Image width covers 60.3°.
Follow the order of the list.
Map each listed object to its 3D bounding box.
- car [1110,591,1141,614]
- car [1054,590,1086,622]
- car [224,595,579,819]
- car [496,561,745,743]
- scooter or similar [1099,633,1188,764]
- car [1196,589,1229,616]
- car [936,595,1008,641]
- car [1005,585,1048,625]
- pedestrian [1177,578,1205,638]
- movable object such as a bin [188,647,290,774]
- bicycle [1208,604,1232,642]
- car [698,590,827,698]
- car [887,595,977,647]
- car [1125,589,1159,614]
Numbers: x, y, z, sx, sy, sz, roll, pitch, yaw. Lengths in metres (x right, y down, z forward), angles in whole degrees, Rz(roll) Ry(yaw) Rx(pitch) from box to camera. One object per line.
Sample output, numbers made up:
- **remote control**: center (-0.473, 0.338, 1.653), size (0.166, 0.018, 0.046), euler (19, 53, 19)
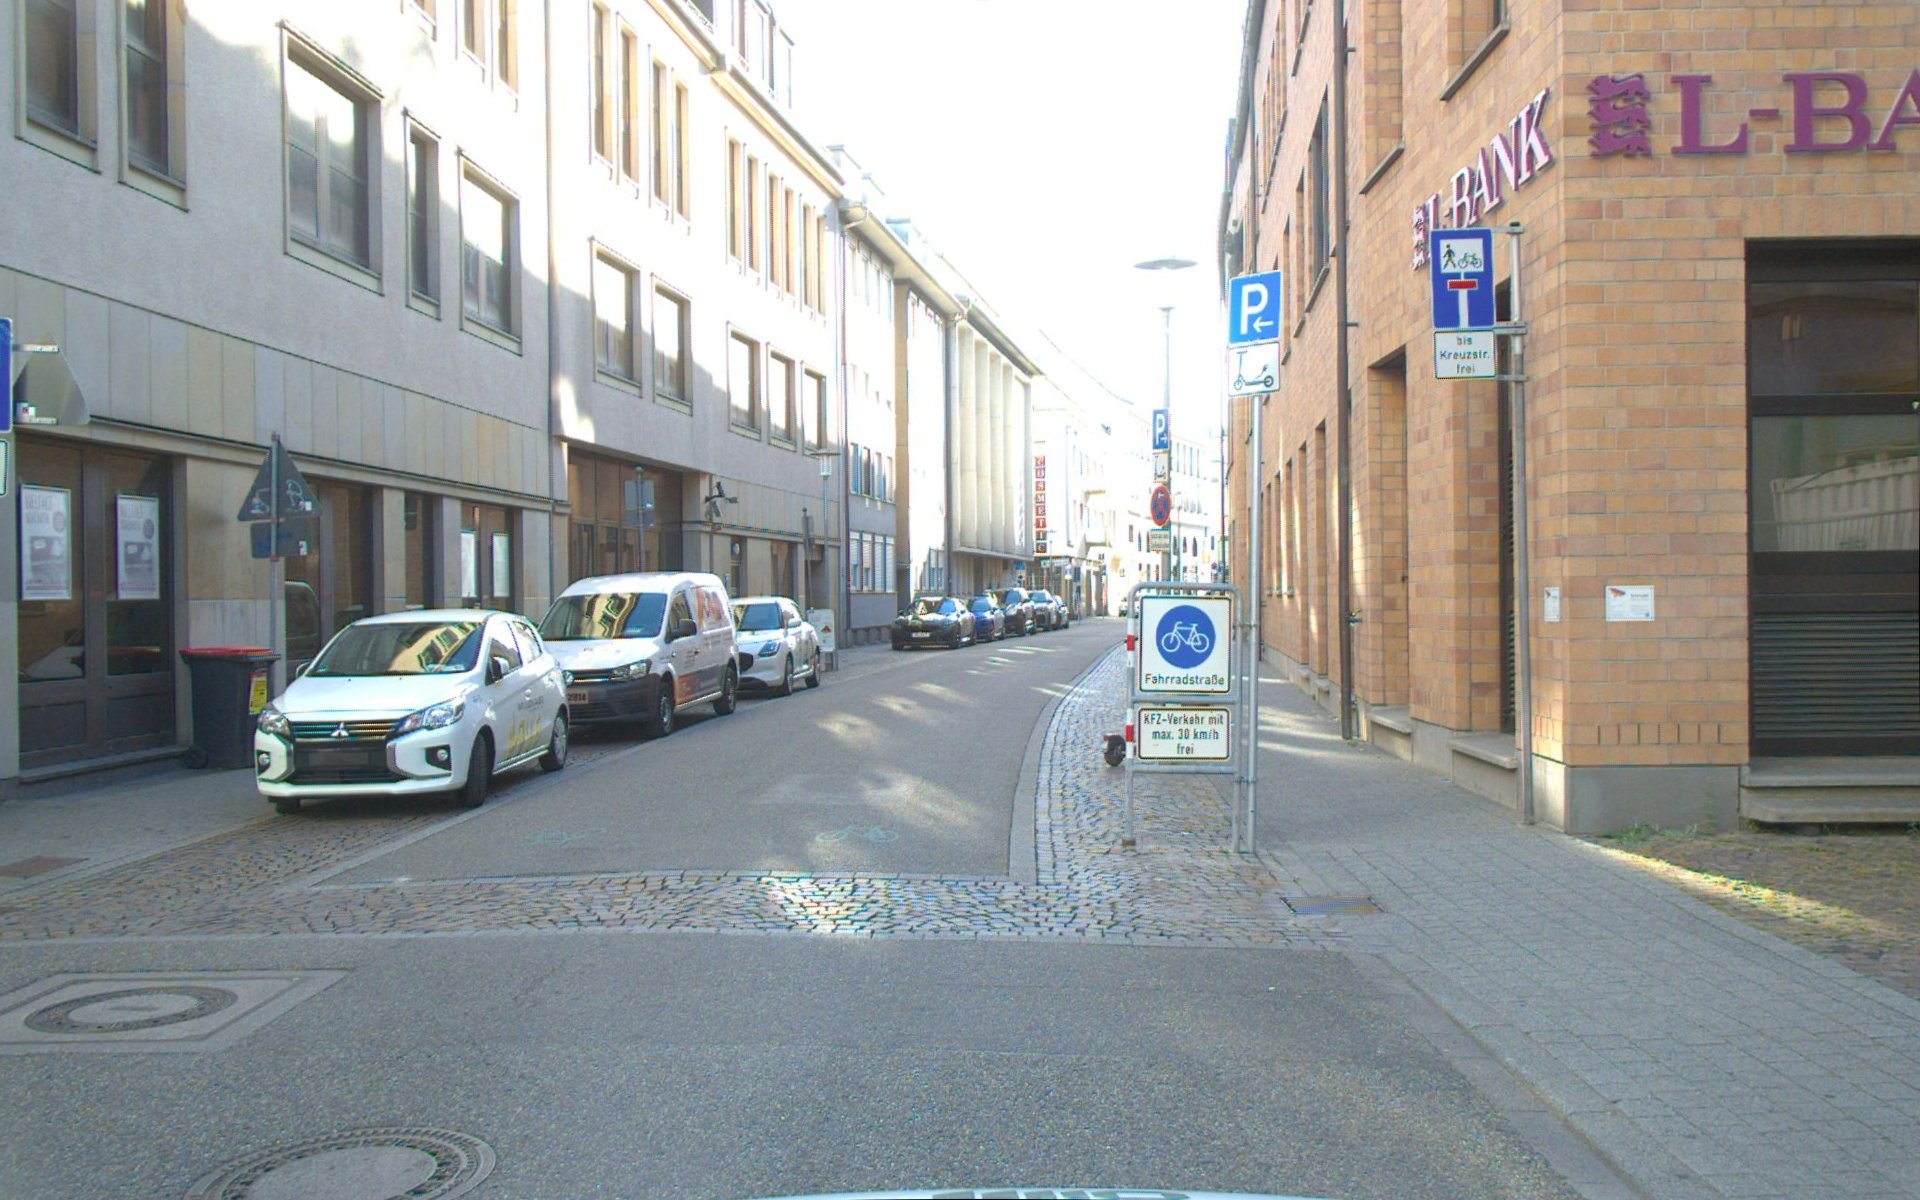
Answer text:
- **car**: center (10.866, 0.162, 108.264), size (1.653, 1.394, 3.621), euler (-1, 0, 11)
- **car**: center (5.571, 0.285, 83.485), size (1.310, 1.520, 3.350), euler (-1, 0, 9)
- **car**: center (-4.438, 0.757, 13.755), size (1.636, 1.533, 3.793), euler (-2, 0, 0)
- **car**: center (-3.862, 0.528, 19.632), size (1.635, 1.850, 4.554), euler (-2, 0, 5)
- **scooter or similar**: center (1.678, 0.898, 15.168), size (0.755, 1.156, 0.269), euler (2, -1, 1)
- **car**: center (13.885, 0.113, 90.764), size (1.653, 1.394, 3.621), euler (-1, 0, 11)
- **car**: center (0.421, 0.554, 52.824), size (1.687, 1.364, 4.004), euler (-1, 0, 9)
- **car**: center (2.669, 0.190, 65.799), size (1.310, 1.520, 3.513), euler (-1, 0, 9)
- **pedestrian**: center (6.898, 0.253, 49.494), size (0.651, 1.761, 0.839), euler (2, 0, -2)
- **movable object such as a bin**: center (-6.469, 0.979, 14.865), size (0.596, 1.079, 0.712), euler (2, 0, -4)
- **bicycle**: center (7.380, 0.638, 46.986), size (0.500, 1.011, 2.649), euler (0, 0, 5)
- **car**: center (-3.017, 0.633, 25.835), size (1.244, 1.533, 3.404), euler (-2, 0, 5)
- **car**: center (-0.734, 0.560, 46.417), size (1.841, 1.355, 4.104), euler (-1, 0, 9)
- **car**: center (10.780, 0.068, 97.766), size (1.653, 1.394, 3.621), euler (-1, 0, 11)
